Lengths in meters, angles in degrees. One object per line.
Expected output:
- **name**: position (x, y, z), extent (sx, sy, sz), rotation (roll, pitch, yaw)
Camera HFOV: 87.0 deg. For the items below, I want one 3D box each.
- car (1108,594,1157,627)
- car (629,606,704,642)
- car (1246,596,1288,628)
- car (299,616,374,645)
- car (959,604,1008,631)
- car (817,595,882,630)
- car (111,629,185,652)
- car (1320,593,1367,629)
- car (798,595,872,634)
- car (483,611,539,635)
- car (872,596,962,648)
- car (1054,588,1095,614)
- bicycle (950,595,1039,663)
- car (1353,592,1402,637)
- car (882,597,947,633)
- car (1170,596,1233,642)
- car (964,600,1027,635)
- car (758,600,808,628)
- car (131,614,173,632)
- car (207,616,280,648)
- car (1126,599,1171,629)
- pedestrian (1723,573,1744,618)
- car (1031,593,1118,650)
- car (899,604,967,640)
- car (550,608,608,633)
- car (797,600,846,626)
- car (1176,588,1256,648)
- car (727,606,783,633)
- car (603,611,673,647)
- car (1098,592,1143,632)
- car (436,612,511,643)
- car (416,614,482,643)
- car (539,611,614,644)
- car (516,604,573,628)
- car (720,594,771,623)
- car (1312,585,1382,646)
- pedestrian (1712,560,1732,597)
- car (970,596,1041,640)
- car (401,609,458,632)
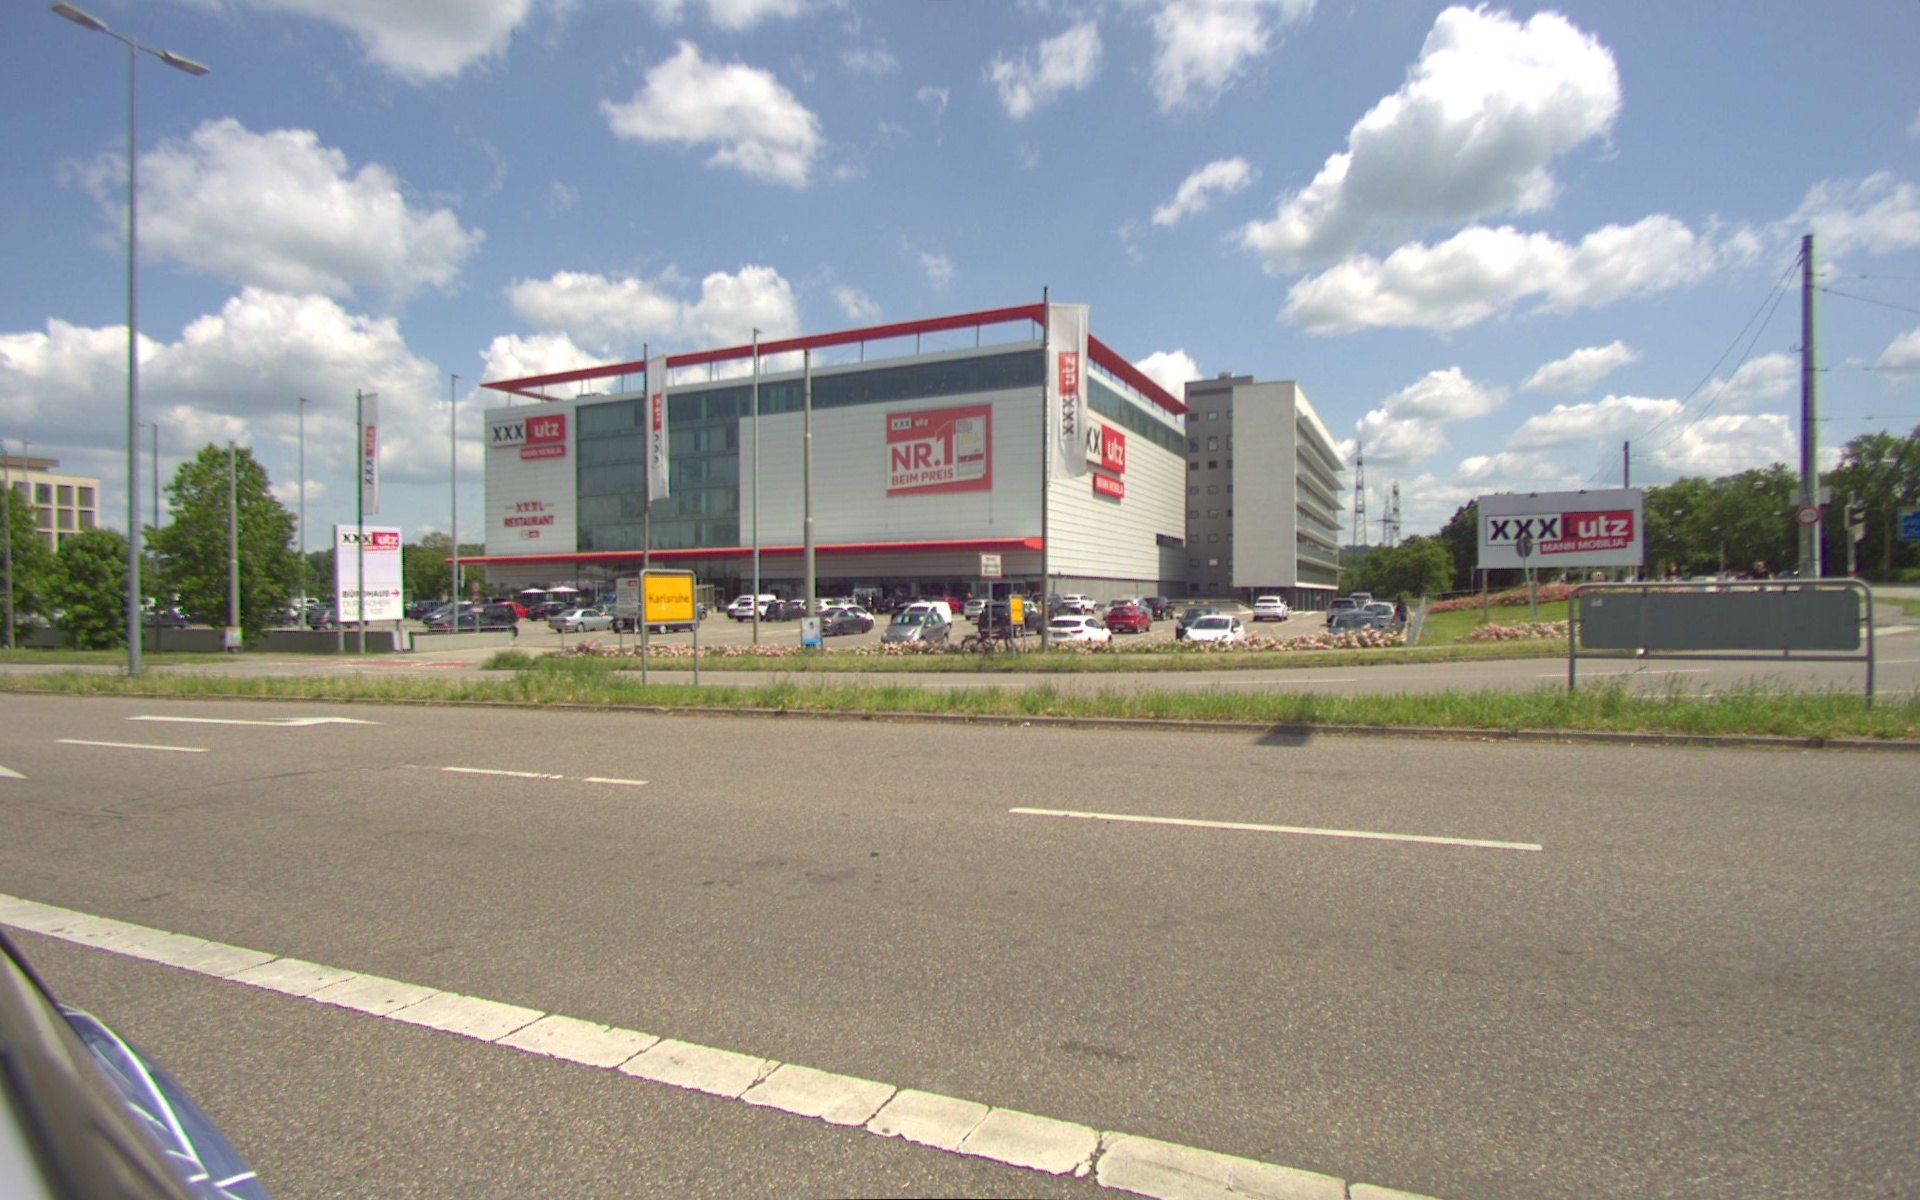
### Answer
- **car**: position (10.913, 0.641, 63.783), extent (1.988, 2.004, 4.590), rotation (-1, -1, 24)
- **car**: position (-17.625, 1.425, 60.891), extent (1.988, 2.004, 4.327), rotation (-1, 0, 25)
- **car**: position (19.786, 0.775, 65.146), extent (1.988, 2.004, 4.326), rotation (-1, -1, 25)
- **car**: position (-46.222, 2.242, 75.122), extent (1.988, 2.004, 4.326), rotation (-3, -1, 25)
- **car**: position (1.764, 1.228, 73.238), extent (1.988, 1.896, 4.326), rotation (-1, -1, 25)
- **car**: position (-6.602, 0.715, 61.107), extent (1.988, 2.004, 4.326), rotation (1, 0, 25)
- **car**: position (-60.469, 2.998, 75.431), extent (1.837, 1.608, 3.962), rotation (-2, -1, 28)
- **car**: position (22.315, 0.627, 58.740), extent (2.236, 2.004, 4.326), rotation (-1, -1, 25)
- **car**: position (-6.743, 0.777, 54.972), extent (1.988, 2.004, 4.326), rotation (-1, -1, 25)
- **car**: position (-39.716, 1.997, 89.702), extent (1.988, 2.004, 4.326), rotation (-1, -1, 25)
- **car**: position (-1.717, 0.887, 41.912), extent (1.988, 2.004, 4.326), rotation (-1, -1, 25)
- **car**: position (9.253, 0.070, 81.295), extent (1.990, 2.004, 4.049), rotation (-1, -1, 27)
- **bicycle**: position (0.887, 0.749, 25.856), extent (2.037, 1.688, 1.012), rotation (-2, -1, 26)
- **car**: position (19.721, 0.686, 47.705), extent (1.988, 2.004, 4.326), rotation (-1, -1, 25)
- **car**: position (-2.581, 0.863, 58.384), extent (1.988, 2.004, 4.326), rotation (-1, -1, 25)
- **car**: position (11.126, 0.868, 46.465), extent (1.988, 2.004, 4.326), rotation (-1, -1, 25)
- **car**: position (2.019, 0.960, 56.582), extent (1.988, 1.896, 4.326), rotation (-1, -1, 25)
- **car**: position (-13.163, 1.004, 75.483), extent (1.767, 2.029, 3.966), rotation (-2, -1, 25)
- **car**: position (-85.135, 2.388, 106.635), extent (3.808, 1.847, 1.842), rotation (-2, -1, 23)
- **car**: position (-56.942, 2.521, 80.471), extent (1.988, 2.346, 4.326), rotation (-1, -1, 25)
- **car**: position (12.883, 0.949, 68.906), extent (1.988, 2.004, 4.326), rotation (-1, -1, 25)
- **pedestrian**: position (31.712, -0.174, 41.495), extent (0.596, 1.824, 0.528), rotation (-2, -1, 36)
- **car**: position (4.392, 0.787, 38.246), extent (1.988, 2.004, 4.326), rotation (-1, -1, 25)
- **car**: position (-1.434, 1.191, 55.459), extent (1.988, 1.853, 4.326), rotation (-1, -1, 25)
- **car**: position (-31.654, 1.692, 84.212), extent (1.988, 2.004, 4.326), rotation (-1, -1, 25)
- **car**: position (-10.894, 1.003, 79.960), extent (1.988, 2.029, 3.966), rotation (-2, -1, 25)
- **car**: position (9.252, 0.624, 36.349), extent (1.990, 2.029, 3.964), rotation (-1, -1, 27)
- **car**: position (-15.547, 1.454, 77.041), extent (1.988, 2.004, 4.326), rotation (-1, -1, 25)
- **car**: position (-19.700, 1.762, 62.128), extent (1.832, 2.004, 4.052), rotation (-1, 1, 24)
- **car**: position (8.611, 0.628, 53.876), extent (1.980, 2.004, 5.286), rotation (-1, -1, 13)
- **car**: position (-33.170, 1.825, 69.122), extent (1.988, 2.004, 4.326), rotation (-1, -1, 25)
- **car**: position (-39.345, 2.170, 77.969), extent (1.980, 2.058, 4.265), rotation (-1, -1, 25)
- **car**: position (-24.111, 1.710, 63.800), extent (1.988, 2.004, 4.326), rotation (-1, -1, 25)
- **car**: position (-35.482, 1.343, 86.488), extent (1.988, 2.004, 4.326), rotation (-1, -1, 25)
- **car**: position (-17.733, 0.732, 83.899), extent (1.859, 2.324, 4.533), rotation (-1, -1, 25)
- **car**: position (13.952, 0.547, 36.334), extent (1.989, 2.029, 3.965), rotation (-1, -1, 26)
- **pedestrian**: position (42.354, -1.192, 56.241), extent (0.559, 2.029, 0.775), rotation (0, -2, -44)
- **car**: position (2.345, 0.850, 50.803), extent (1.988, 2.004, 4.559), rotation (0, 1, 25)
- **car**: position (-48.505, 1.838, 92.613), extent (1.988, 2.004, 4.326), rotation (-1, -1, 25)
